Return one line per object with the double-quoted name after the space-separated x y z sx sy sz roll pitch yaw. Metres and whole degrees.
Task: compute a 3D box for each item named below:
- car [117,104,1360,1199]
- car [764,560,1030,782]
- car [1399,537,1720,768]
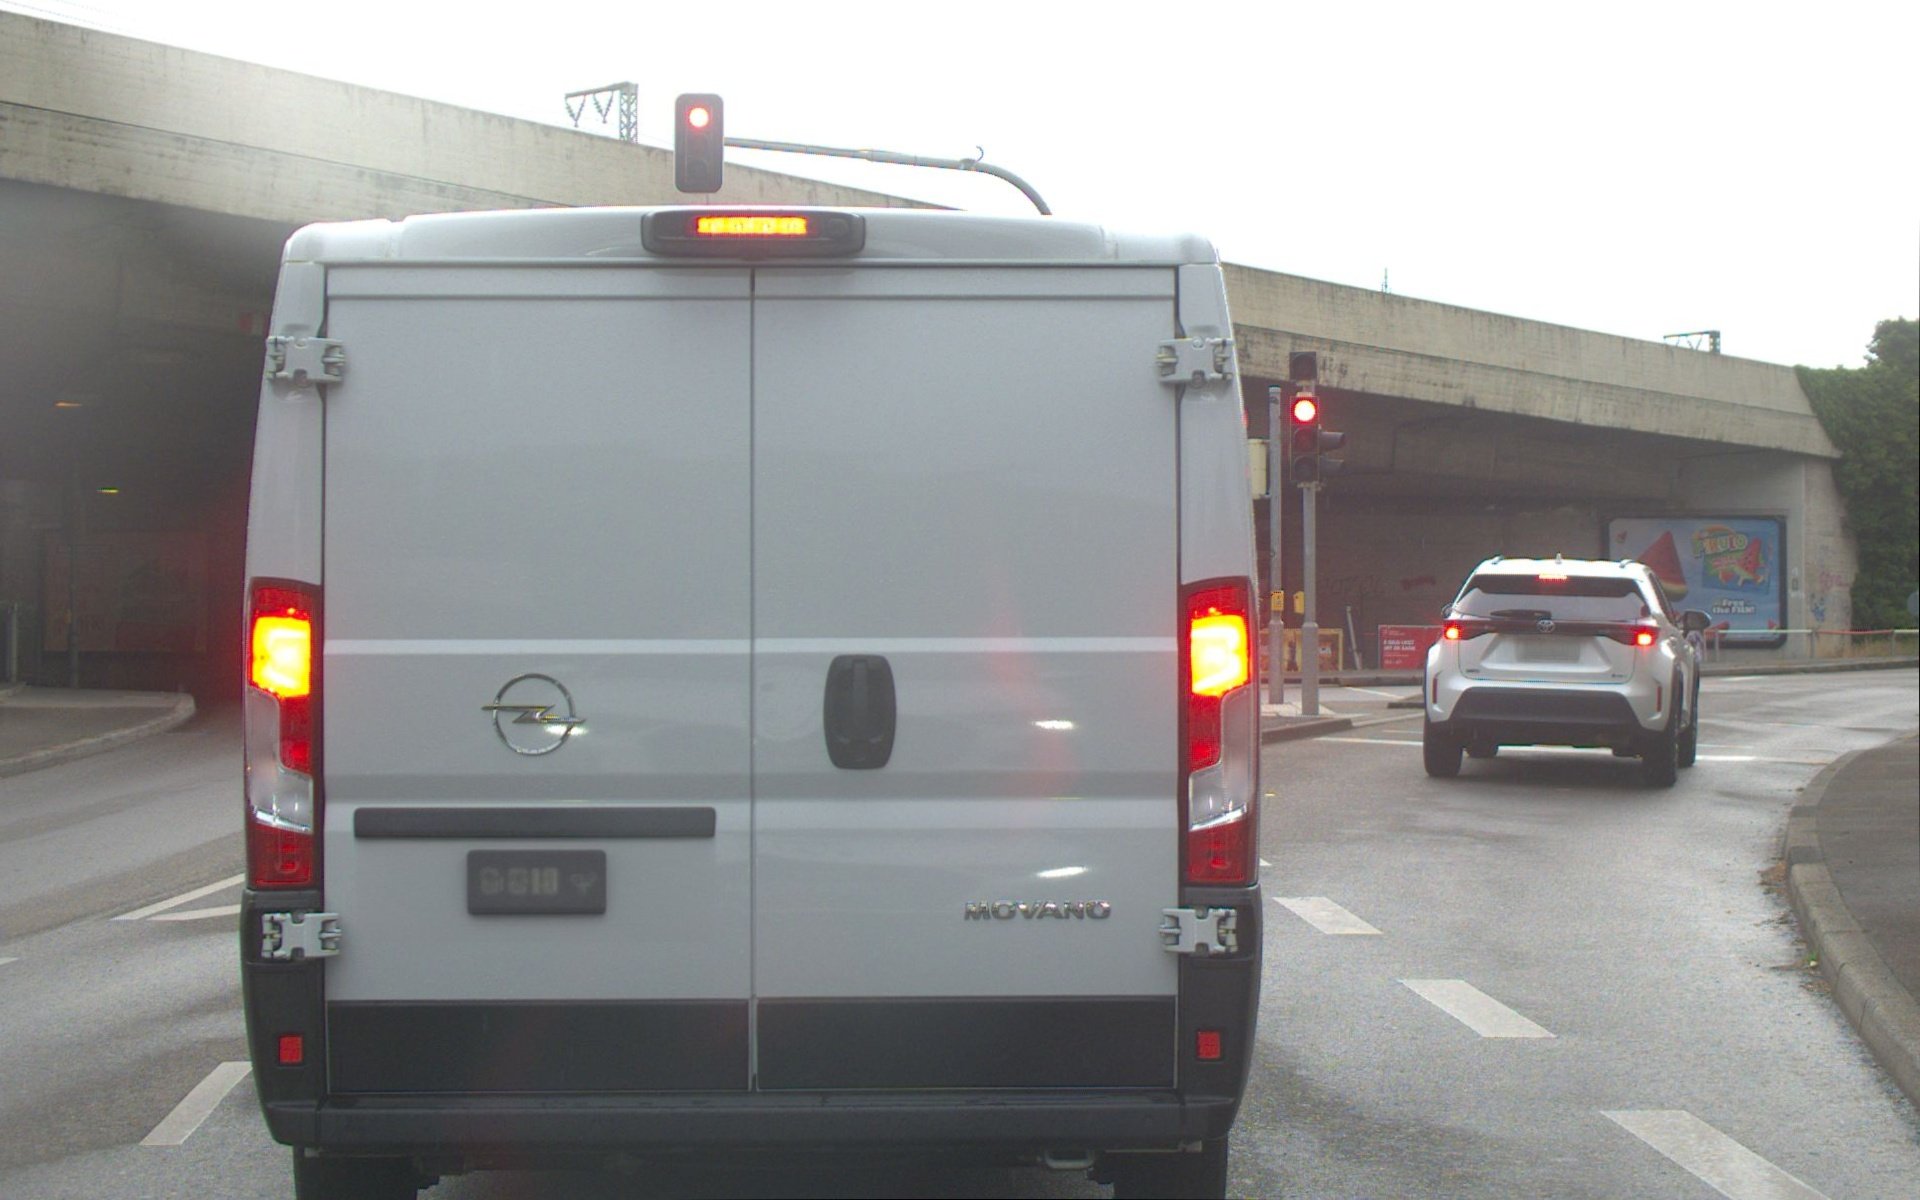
-0.453 0.240 9.096 2.305 2.335 5.282 1 0 -1 "car"
-0.450 0.577 28.811 1.994 1.723 3.999 0 -1 2 "car"
4.481 0.373 25.233 1.995 1.544 3.997 0 -1 15 "car"
